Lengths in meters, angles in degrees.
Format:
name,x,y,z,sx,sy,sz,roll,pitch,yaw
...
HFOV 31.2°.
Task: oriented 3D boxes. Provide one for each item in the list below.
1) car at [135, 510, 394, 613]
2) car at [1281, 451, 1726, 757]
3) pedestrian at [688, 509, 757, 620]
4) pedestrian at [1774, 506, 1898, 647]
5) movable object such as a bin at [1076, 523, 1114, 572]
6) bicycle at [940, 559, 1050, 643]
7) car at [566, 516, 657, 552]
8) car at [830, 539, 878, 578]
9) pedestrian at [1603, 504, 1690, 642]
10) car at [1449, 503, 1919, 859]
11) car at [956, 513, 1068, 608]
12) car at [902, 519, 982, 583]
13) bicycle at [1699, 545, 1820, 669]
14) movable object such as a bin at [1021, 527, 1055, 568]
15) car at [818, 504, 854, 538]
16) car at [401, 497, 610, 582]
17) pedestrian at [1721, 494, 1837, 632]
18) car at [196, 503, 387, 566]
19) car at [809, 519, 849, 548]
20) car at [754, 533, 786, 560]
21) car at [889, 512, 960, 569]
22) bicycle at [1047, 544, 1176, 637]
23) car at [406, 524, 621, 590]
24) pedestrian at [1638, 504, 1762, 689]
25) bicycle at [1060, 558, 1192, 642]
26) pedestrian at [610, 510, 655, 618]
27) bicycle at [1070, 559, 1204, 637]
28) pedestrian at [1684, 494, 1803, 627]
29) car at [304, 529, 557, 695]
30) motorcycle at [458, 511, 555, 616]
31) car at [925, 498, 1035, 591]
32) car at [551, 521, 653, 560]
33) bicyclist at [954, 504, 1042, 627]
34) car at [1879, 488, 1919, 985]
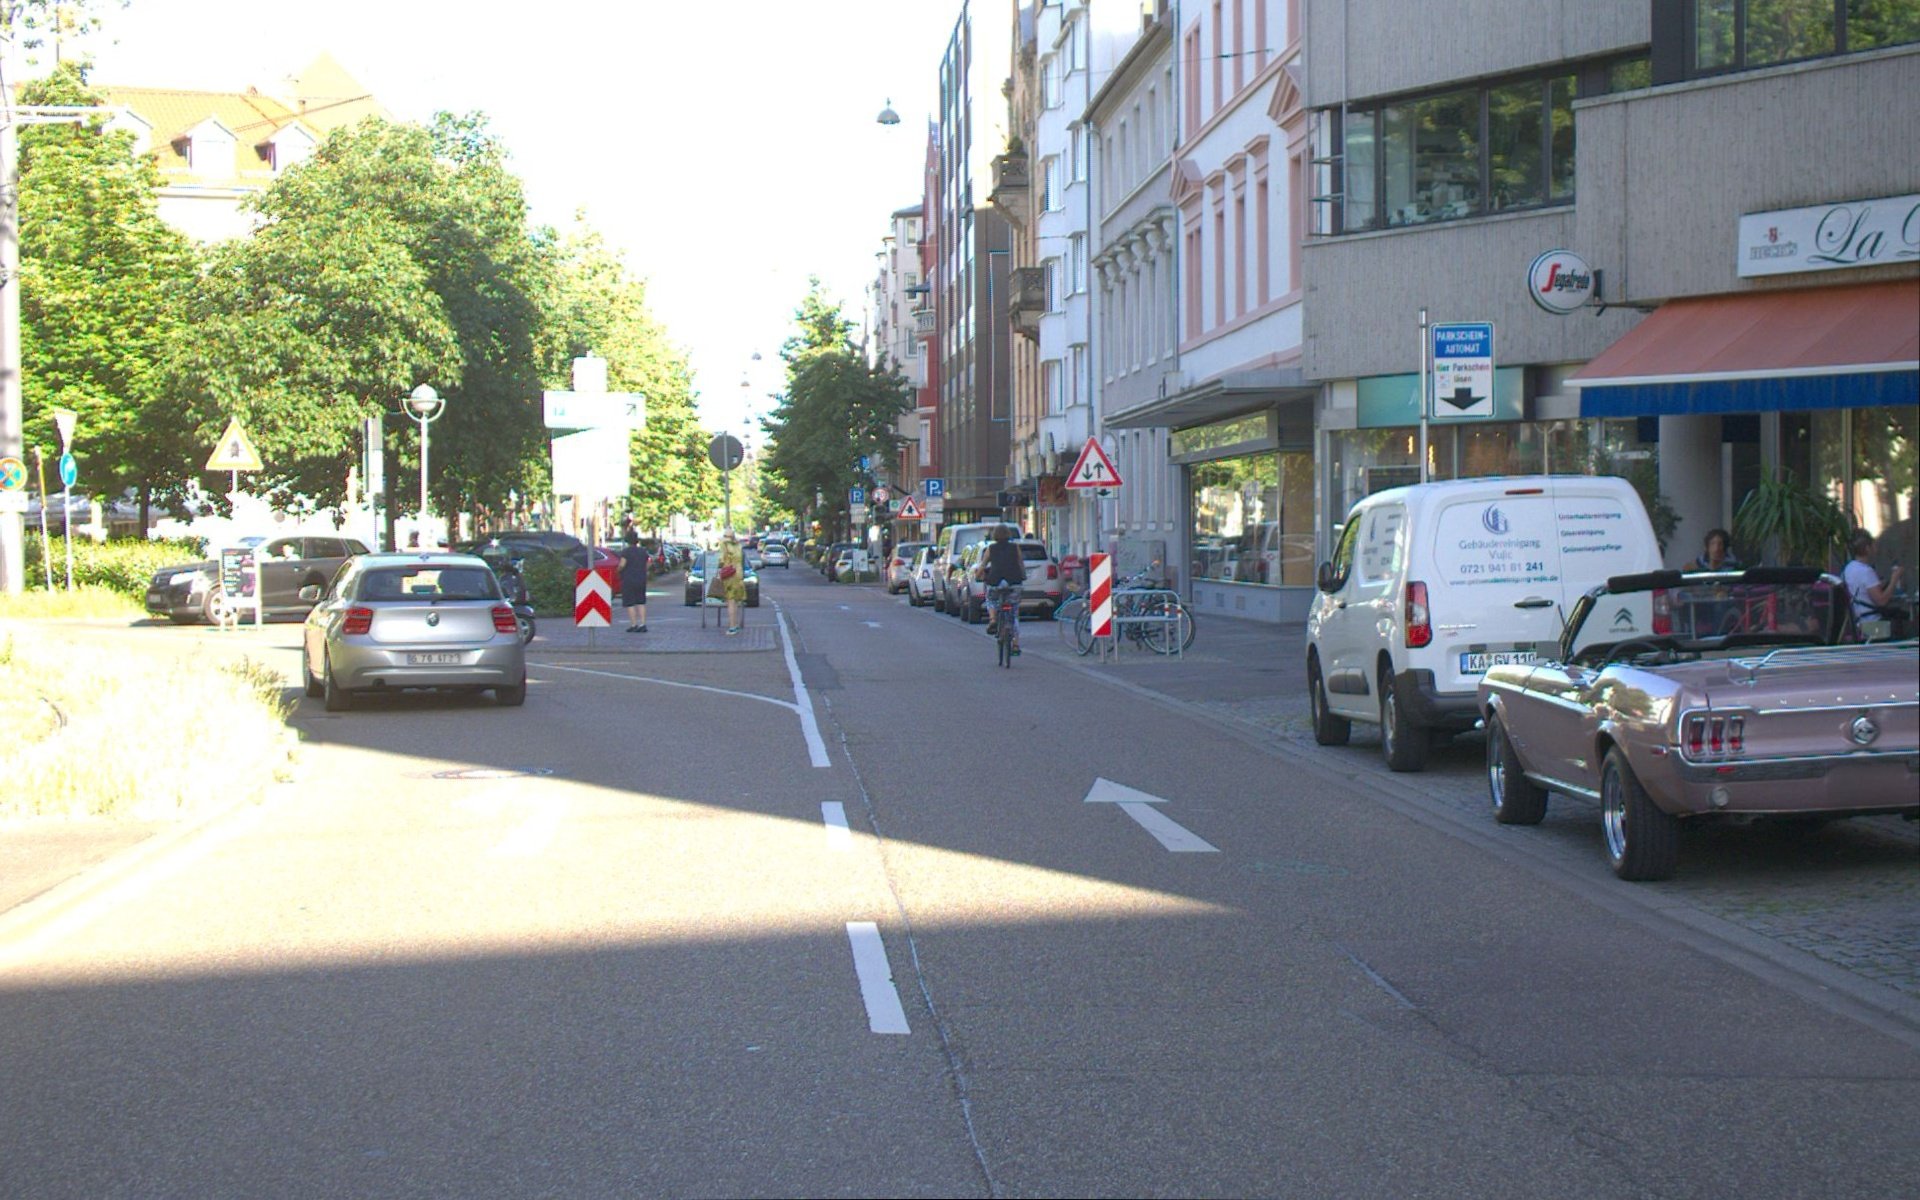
name,x,y,z,sx,sy,sz,roll,pitch,yaw
car,-11.670,-0.648,57.793,3.859,1.676,1.811,-1,1,-39
car,3.490,0.016,22.939,1.993,1.806,4.310,1,0,-4
pedestrian,-3.681,-0.551,53.212,0.804,1.693,0.668,1,0,44
pedestrian,8.854,-0.246,34.761,0.841,1.397,0.831,0,2,-28
movable object such as a bin,3.103,-1.200,79.131,0.794,1.072,0.660,-3,0,-1
bicycle,0.440,0.015,41.223,0.653,0.955,2.696,1,0,15
car,-15.838,-3.004,156.500,3.986,1.503,1.895,1,0,-2
car,-4.572,-1.781,148.467,1.993,1.612,4.010,2,0,-1
pedestrian,6.307,-0.248,31.603,0.630,1.232,0.624,-2,0,0
car,3.652,0.332,16.620,1.774,1.449,4.731,1,0,-1
car,0.962,-0.744,66.312,1.745,1.733,4.961,1,0,-4
car,-0.466,-1.221,86.224,1.718,1.510,3.583,-2,0,-4
bicycle,6.885,0.053,29.663,0.563,1.031,1.644,1,0,-3
movable object such as a bin,2.192,-1.480,96.594,0.876,1.119,0.829,1,0,-3
car,-7.382,-4.704,204.591,1.993,2.007,4.001,1,1,-4
car,-9.569,-1.268,72.317,3.986,1.662,2.001,1,1,-19
pedestrian,8.501,-0.382,35.700,0.841,1.397,0.753,1,1,-33
car,-20.379,-1.983,104.877,5.263,1.794,2.164,1,0,-30
car,-6.911,-3.491,180.780,1.993,1.448,4.001,1,1,-4
car,-11.483,-3.241,207.976,1.870,1.550,4.000,1,0,-3
car,-1.130,-1.840,107.388,1.898,1.669,4.825,1,0,-4
bicycle,2.072,-0.130,47.017,1.623,1.239,0.658,1,0,17
car,-10.819,-1.032,83.441,4.834,1.483,1.765,1,0,-27
pedestrian,7.032,-0.039,32.665,0.841,1.704,0.720,-3,2,-31
bicycle,2.186,-0.006,45.204,1.680,1.058,0.343,1,0,13
pedestrian,-5.114,-0.554,53.688,0.636,1.666,0.693,1,0,-3
bicycle,2.349,-0.029,45.560,1.704,1.001,0.427,1,0,13
pedestrian,7.839,-0.395,34.414,0.841,1.288,0.831,-2,1,-15
car,-5.010,0.093,32.095,1.993,1.418,4.198,1,0,-13
motorcycle,-6.130,-0.494,46.400,0.745,1.369,1.761,1,0,-27
car,0.408,-1.260,76.697,1.993,1.998,5.118,0,1,-5
car,-14.644,-2.423,140.733,3.986,1.503,2.000,1,0,-2
bicyclist,0.460,-0.413,41.274,0.787,1.448,1.095,1,0,15
car,4.291,0.488,10.188,1.851,1.683,3.868,1,0,-4
